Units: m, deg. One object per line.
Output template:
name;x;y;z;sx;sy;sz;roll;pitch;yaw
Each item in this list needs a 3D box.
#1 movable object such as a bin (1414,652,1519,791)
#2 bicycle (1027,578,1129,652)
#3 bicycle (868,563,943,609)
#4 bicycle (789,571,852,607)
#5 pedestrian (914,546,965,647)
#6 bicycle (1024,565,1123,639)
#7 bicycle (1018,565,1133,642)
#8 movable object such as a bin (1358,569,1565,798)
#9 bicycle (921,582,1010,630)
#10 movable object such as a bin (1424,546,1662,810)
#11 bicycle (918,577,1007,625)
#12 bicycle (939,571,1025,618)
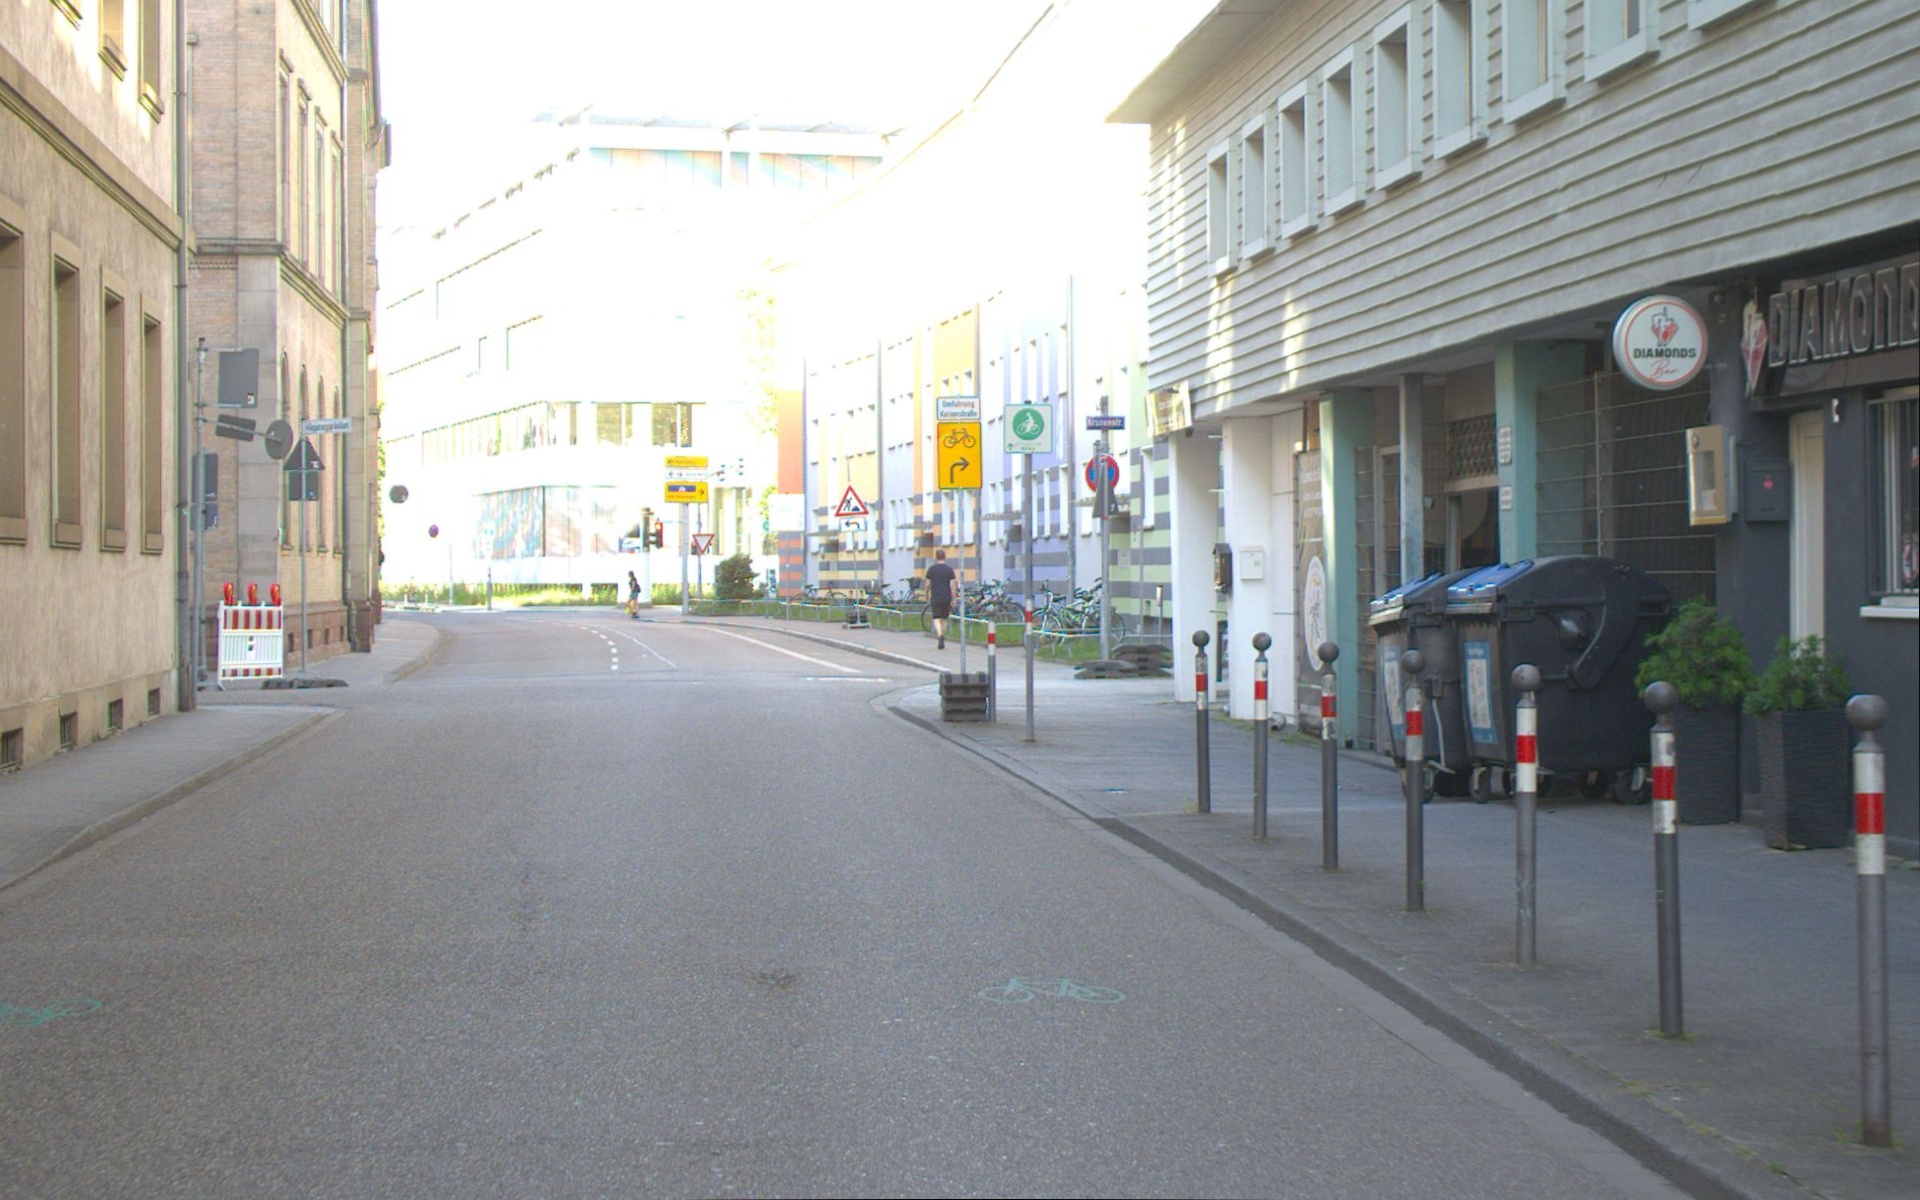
movable object such as a bin;3.374;0.808;22.916;0.556;0.896;0.523;-2;-1;-5
bicycle;1.981;0.249;57.615;1.640;1.137;0.283;-4;2;-15
bicycle;-1.366;-0.349;86.585;1.810;1.133;0.552;-1;0;-8
bicycle;-4.085;-0.318;100.675;1.753;1.000;0.613;-2;0;-12
pedestrian;-0.368;-0.067;61.295;0.696;1.754;1.189;-3;1;-7
bicycle;1.904;0.023;57.880;1.602;1.137;0.237;-4;2;-15
bicycle;1.884;0.056;56.218;1.748;1.137;0.552;-4;2;-7
movable object such as a bin;3.171;0.529;21.860;0.981;1.380;1.321;-2;-1;-5
bicycle;0.114;0.118;70.089;1.748;0.943;0.552;-2;0;-7
movable object such as a bin;3.429;0.463;20.372;0.981;1.475;1.551;-2;-1;-5
bicycle;0.057;0.011;70.748;1.748;0.943;0.552;-2;0;-7
bicycle;0.457;-0.112;71.841;1.748;0.943;0.326;-2;0;-6
